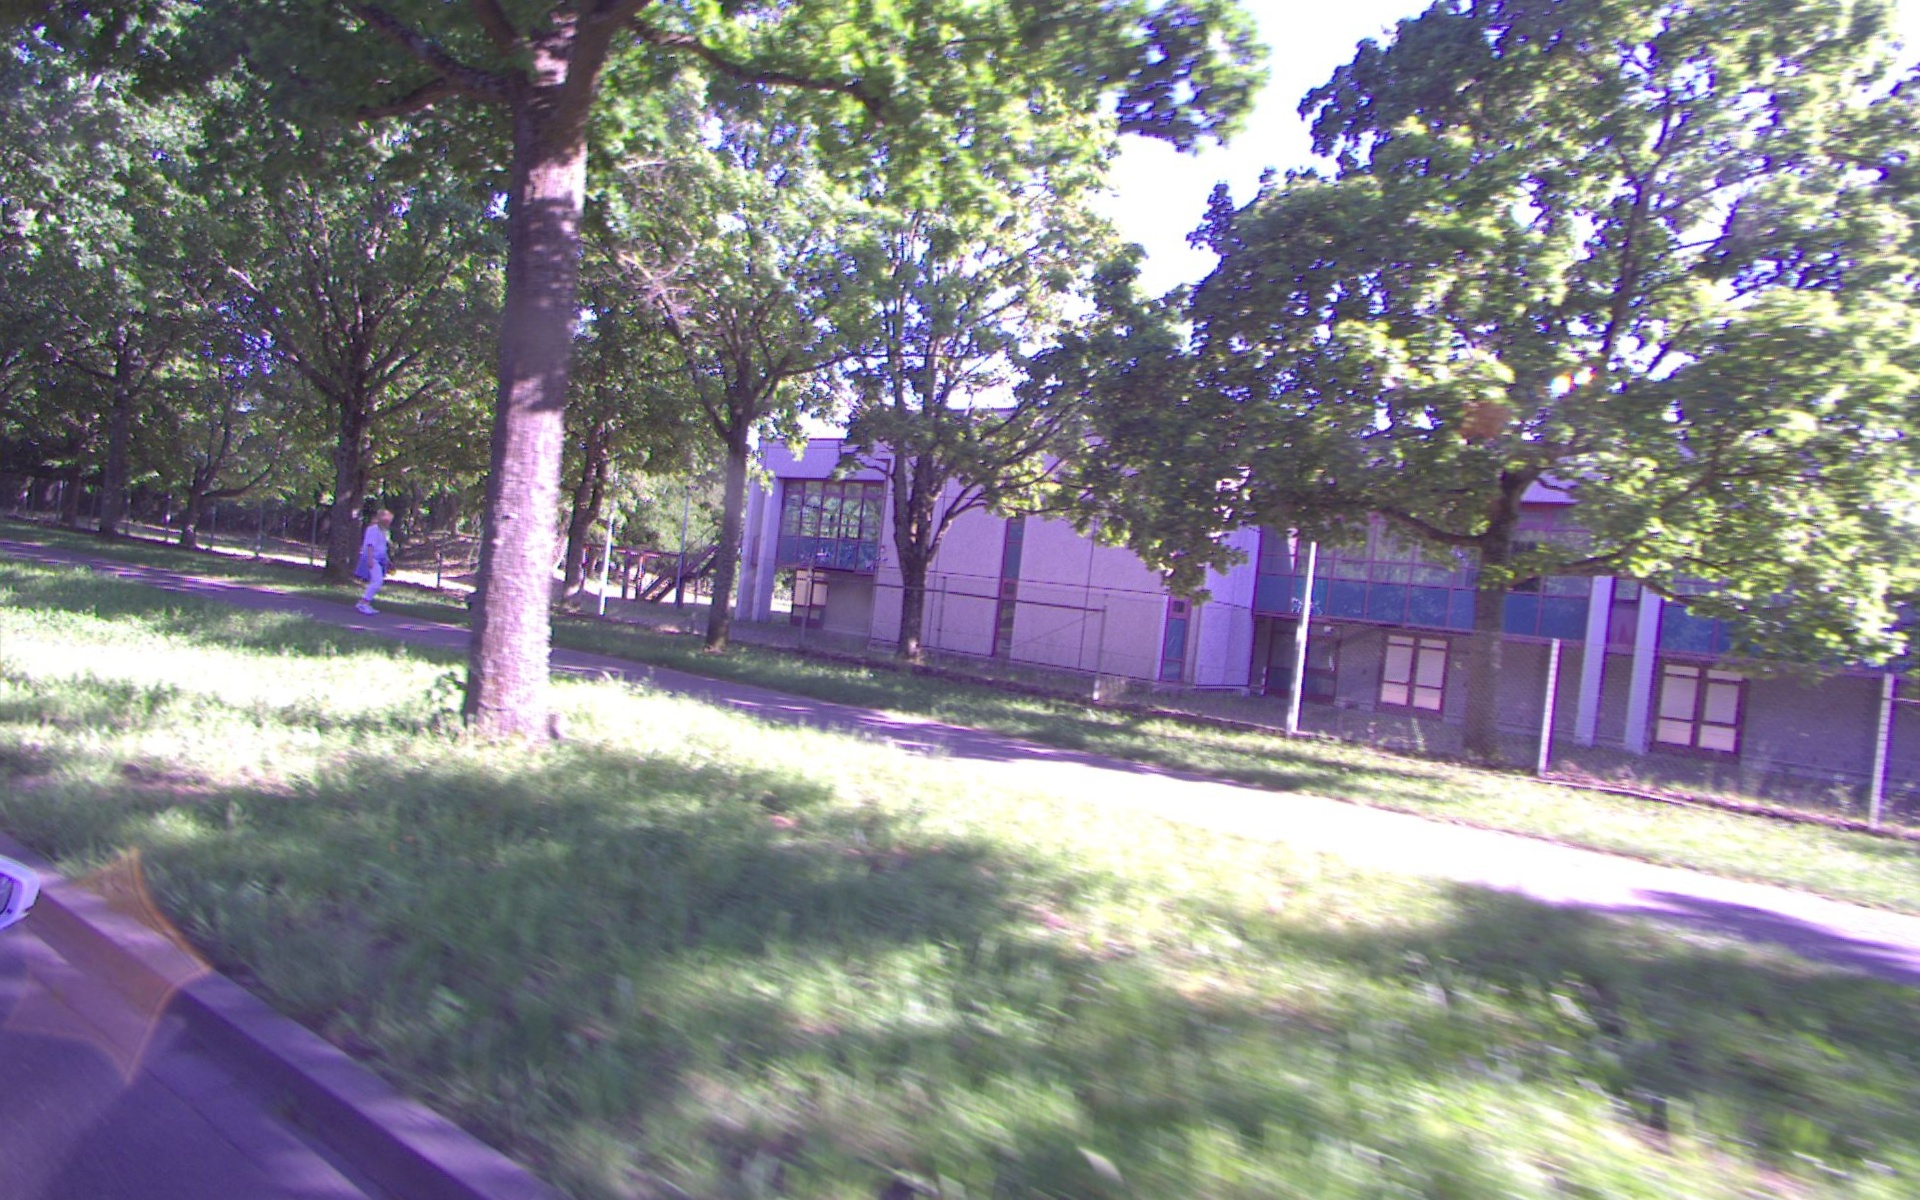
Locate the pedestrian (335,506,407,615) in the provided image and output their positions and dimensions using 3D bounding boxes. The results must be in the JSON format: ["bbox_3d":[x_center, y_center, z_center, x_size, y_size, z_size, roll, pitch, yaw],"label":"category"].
[{"bbox_3d":[-9.511,-0.636,16.256,0.706,1.653,0.609,6,3,-3],"label":"pedestrian"}]
